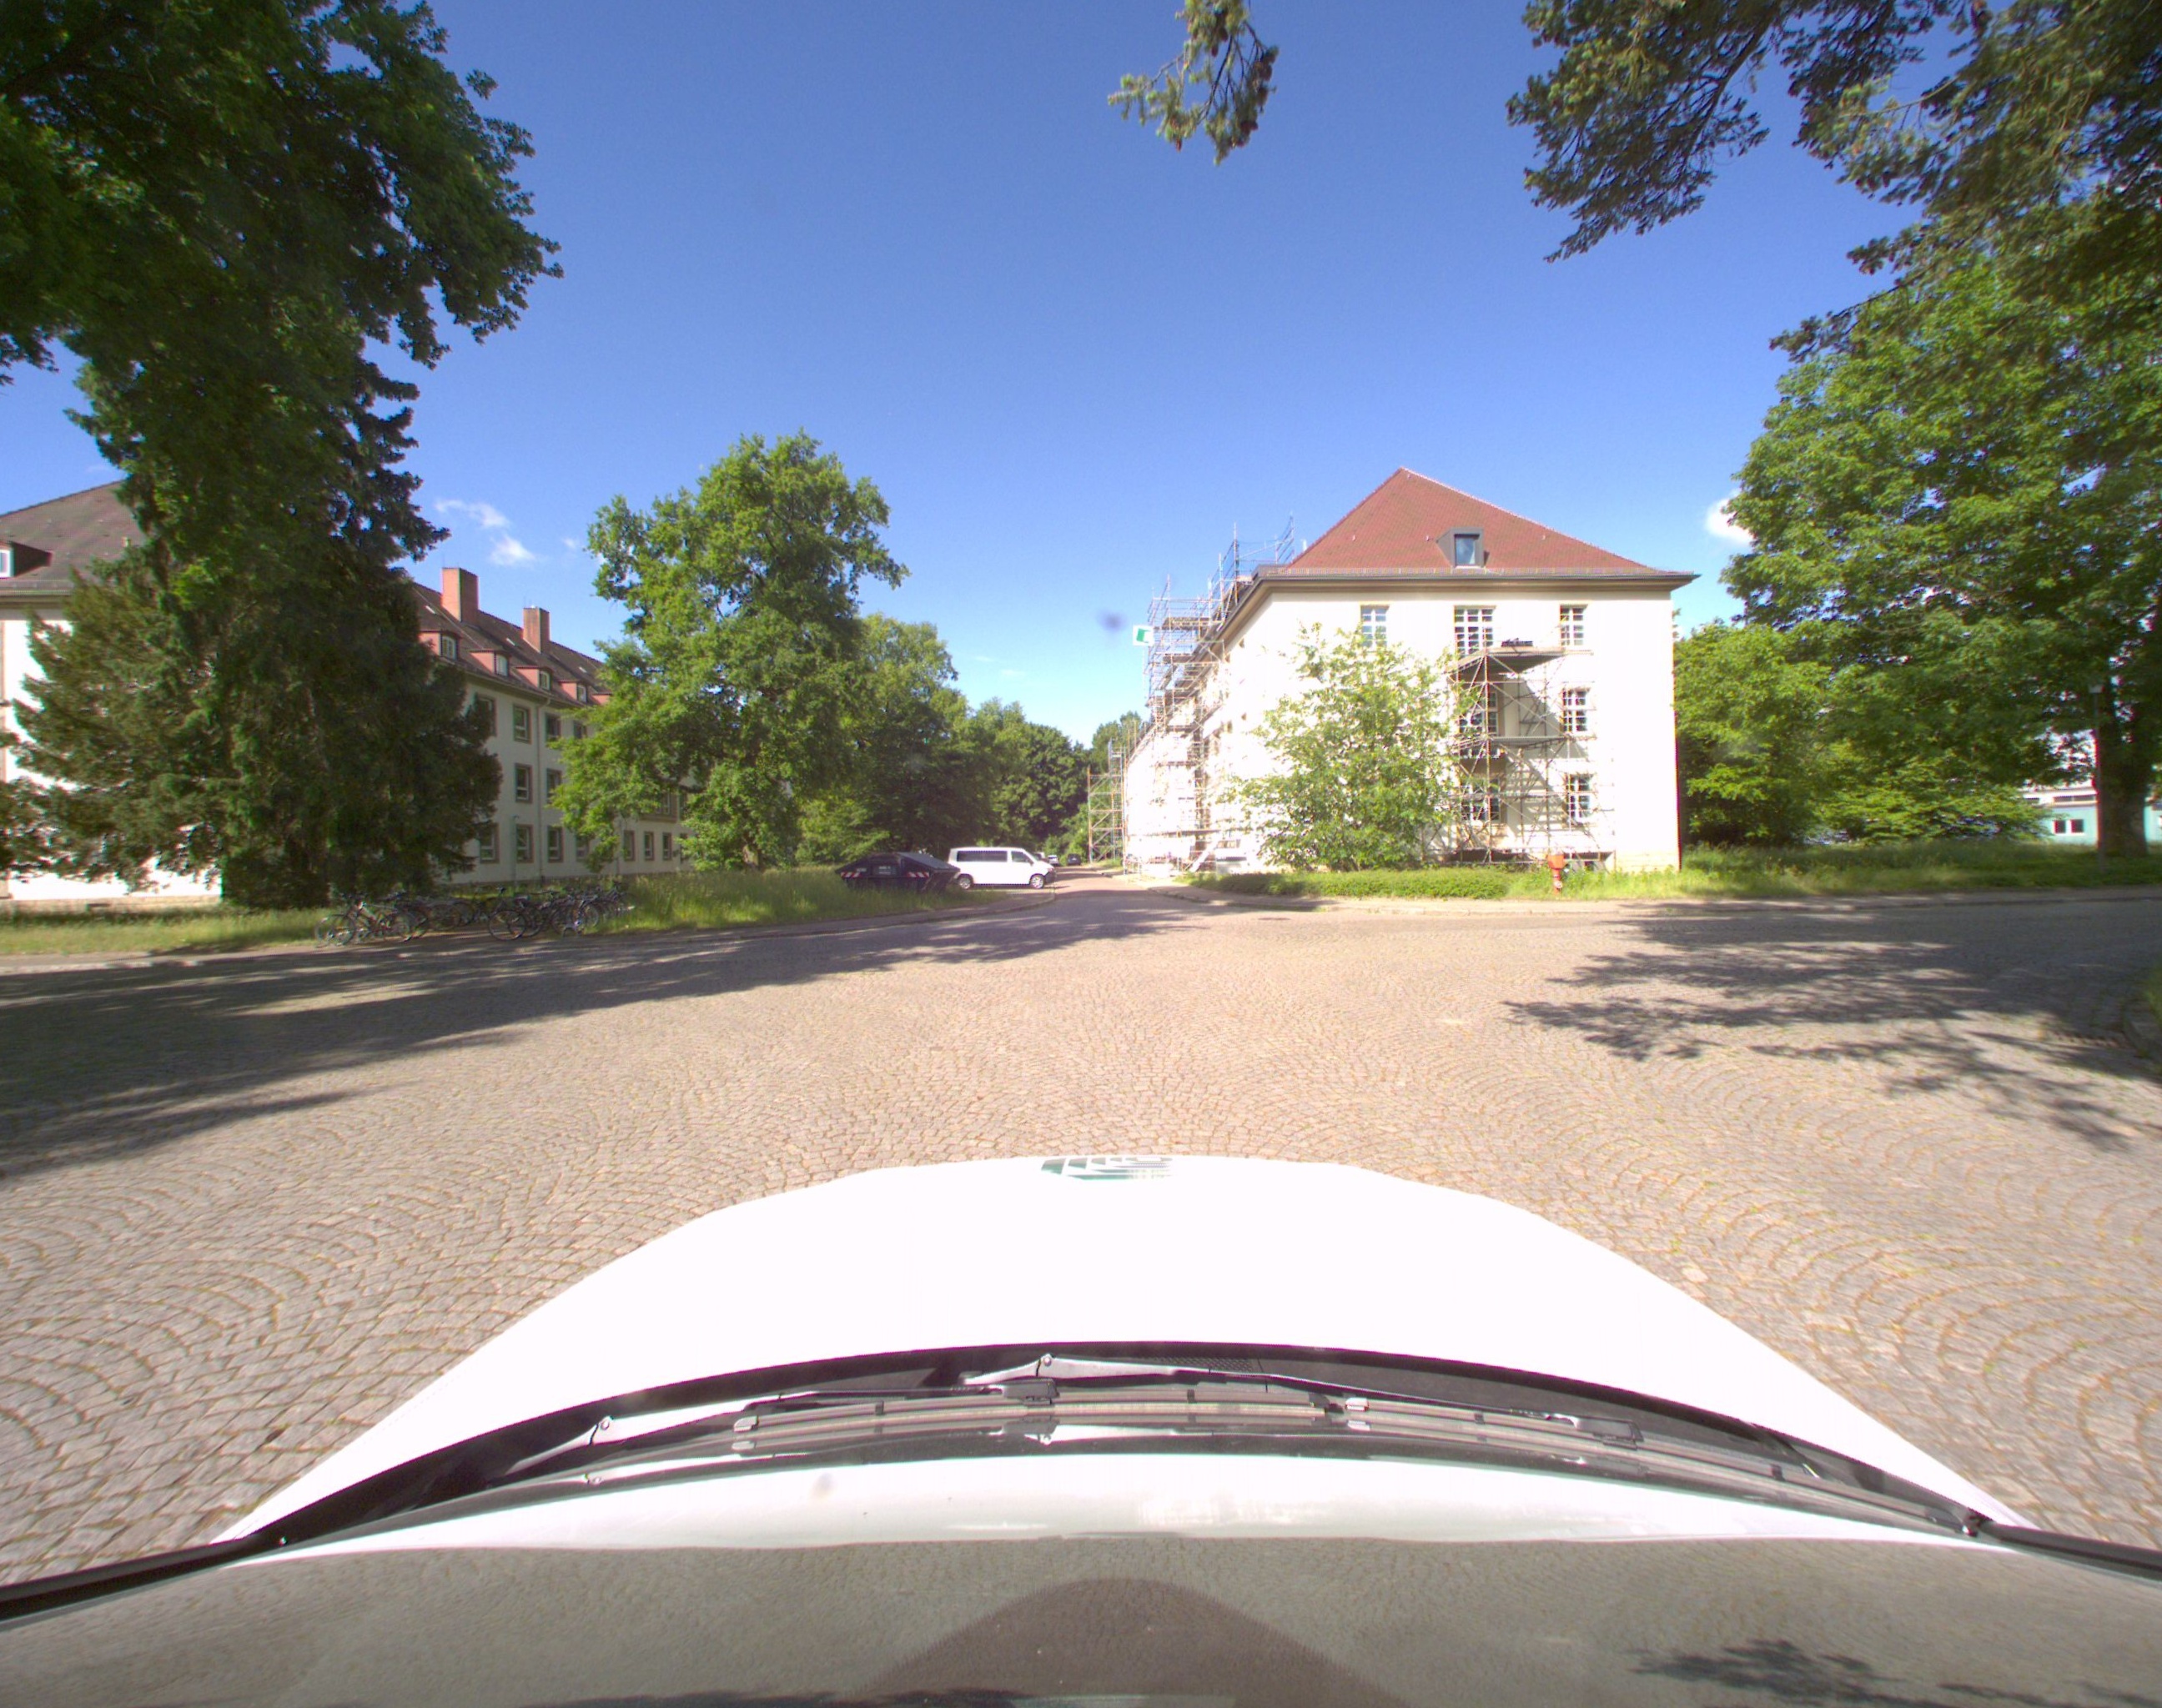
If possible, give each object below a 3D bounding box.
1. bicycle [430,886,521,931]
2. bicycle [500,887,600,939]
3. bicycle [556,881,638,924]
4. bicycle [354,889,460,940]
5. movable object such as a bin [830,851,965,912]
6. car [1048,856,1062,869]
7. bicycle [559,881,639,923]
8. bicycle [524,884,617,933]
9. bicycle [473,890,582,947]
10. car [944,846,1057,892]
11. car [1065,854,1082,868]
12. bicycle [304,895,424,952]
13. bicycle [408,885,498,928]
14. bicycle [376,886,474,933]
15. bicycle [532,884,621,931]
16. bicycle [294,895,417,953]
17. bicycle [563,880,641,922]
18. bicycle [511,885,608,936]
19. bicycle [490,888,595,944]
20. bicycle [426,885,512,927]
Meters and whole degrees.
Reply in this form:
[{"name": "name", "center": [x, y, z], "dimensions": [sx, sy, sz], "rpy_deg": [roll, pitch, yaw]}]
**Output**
[{"name": "bicycle", "center": [-16.785, 1.491, 22.627], "dimensions": [1.920, 1.103, 0.566], "rpy_deg": [-1, 1, -22]}, {"name": "bicycle", "center": [-12.756, 1.404, 19.618], "dimensions": [1.923, 1.058, 0.472], "rpy_deg": [-4, 1, -25]}, {"name": "bicycle", "center": [-13.934, 1.382, 23.491], "dimensions": [1.922, 1.058, 0.472], "rpy_deg": [-4, 1, -24]}, {"name": "bicycle", "center": [-16.706, 1.479, 20.245], "dimensions": [1.925, 1.103, 0.565], "rpy_deg": [-2, 1, -31]}, {"name": "movable object such as a bin", "center": [-5.752, 0.838, 25.763], "dimensions": [3.538, 1.744, 2.033], "rpy_deg": [-2, 0, 16]}, {"name": "car", "center": [-3.368, 1.039, 105.012], "dimensions": [1.808, 1.579, 4.130], "rpy_deg": [-2, 0, -3]}, {"name": "bicycle", "center": [-14.133, 1.391, 23.947], "dimensions": [1.922, 1.058, 0.472], "rpy_deg": [-4, 1, -24]}, {"name": "bicycle", "center": [-13.099, 1.378, 20.954], "dimensions": [1.923, 1.058, 0.472], "rpy_deg": [-4, 1, -25]}, {"name": "bicycle", "center": [-12.247, 1.416, 18.096], "dimensions": [1.926, 1.058, 0.471], "rpy_deg": [-4, 1, -32]}, {"name": "car", "center": [-3.788, 0.688, 38.962], "dimensions": [5.223, 2.016, 1.948], "rpy_deg": [-2, 0, -3]}, {"name": "car", "center": [-0.986, 0.900, 105.432], "dimensions": [1.966, 1.668, 4.082], "rpy_deg": [-2, 0, -3]}, {"name": "bicycle", "center": [-16.322, 1.566, 18.604], "dimensions": [1.923, 1.102, 0.565], "rpy_deg": [-2, 2, -27]}, {"name": "bicycle", "center": [-17.770, 1.471, 23.093], "dimensions": [1.920, 1.103, 0.566], "rpy_deg": [-1, 1, -22]}, {"name": "bicycle", "center": [-17.283, 1.447, 21.516], "dimensions": [1.925, 1.103, 0.565], "rpy_deg": [-2, 1, -31]}, {"name": "bicycle", "center": [-13.434, 1.419, 21.749], "dimensions": [1.922, 1.058, 0.472], "rpy_deg": [-4, 1, -24]}, {"name": "bicycle", "center": [-16.091, 1.530, 18.120], "dimensions": [1.923, 1.102, 0.565], "rpy_deg": [-2, 2, -27]}, {"name": "bicycle", "center": [-14.310, 1.397, 24.377], "dimensions": [1.922, 1.058, 0.472], "rpy_deg": [-4, 1, -24]}, {"name": "bicycle", "center": [-12.886, 1.380, 20.175], "dimensions": [1.923, 1.058, 0.472], "rpy_deg": [-4, 1, -25]}, {"name": "bicycle", "center": [-12.282, 1.397, 18.650], "dimensions": [1.926, 1.058, 0.471], "rpy_deg": [-4, 1, -32]}, {"name": "bicycle", "center": [-18.013, 1.513, 24.026], "dimensions": [1.923, 1.103, 0.565], "rpy_deg": [-2, 1, -26]}]
